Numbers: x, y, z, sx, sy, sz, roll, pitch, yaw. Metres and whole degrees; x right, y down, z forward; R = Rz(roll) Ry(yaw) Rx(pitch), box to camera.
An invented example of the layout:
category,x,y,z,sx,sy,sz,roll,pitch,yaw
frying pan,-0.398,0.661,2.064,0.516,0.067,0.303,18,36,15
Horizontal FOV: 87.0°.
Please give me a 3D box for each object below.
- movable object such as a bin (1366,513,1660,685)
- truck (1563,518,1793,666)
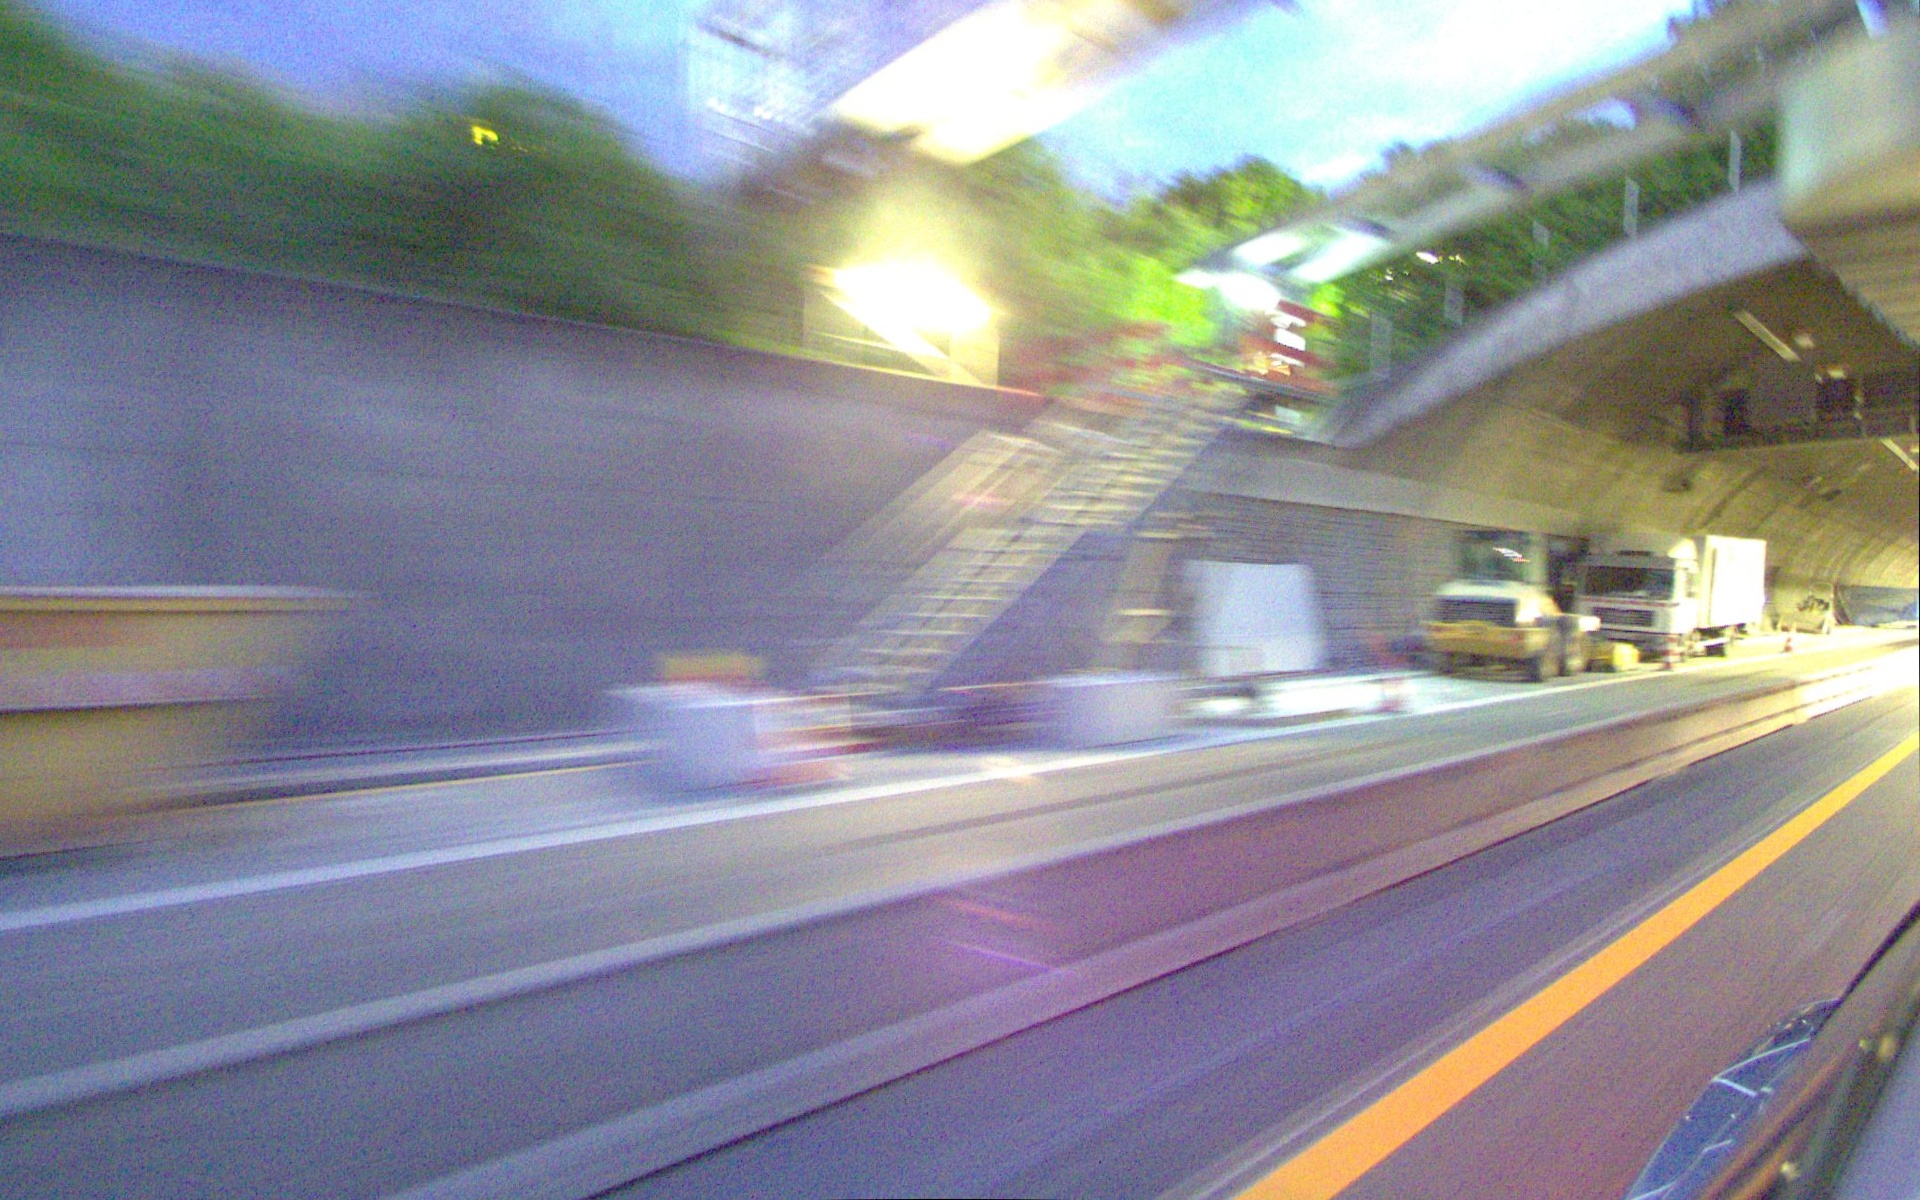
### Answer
category,x,y,z,sx,sy,sz,roll,pitch,yaw
movable object such as a bin,11.282,-0.043,20.320,7.072,2.863,2.974,-1,0,-42
truck,19.031,-0.220,26.576,8.203,3.327,2.824,-1,0,-39
